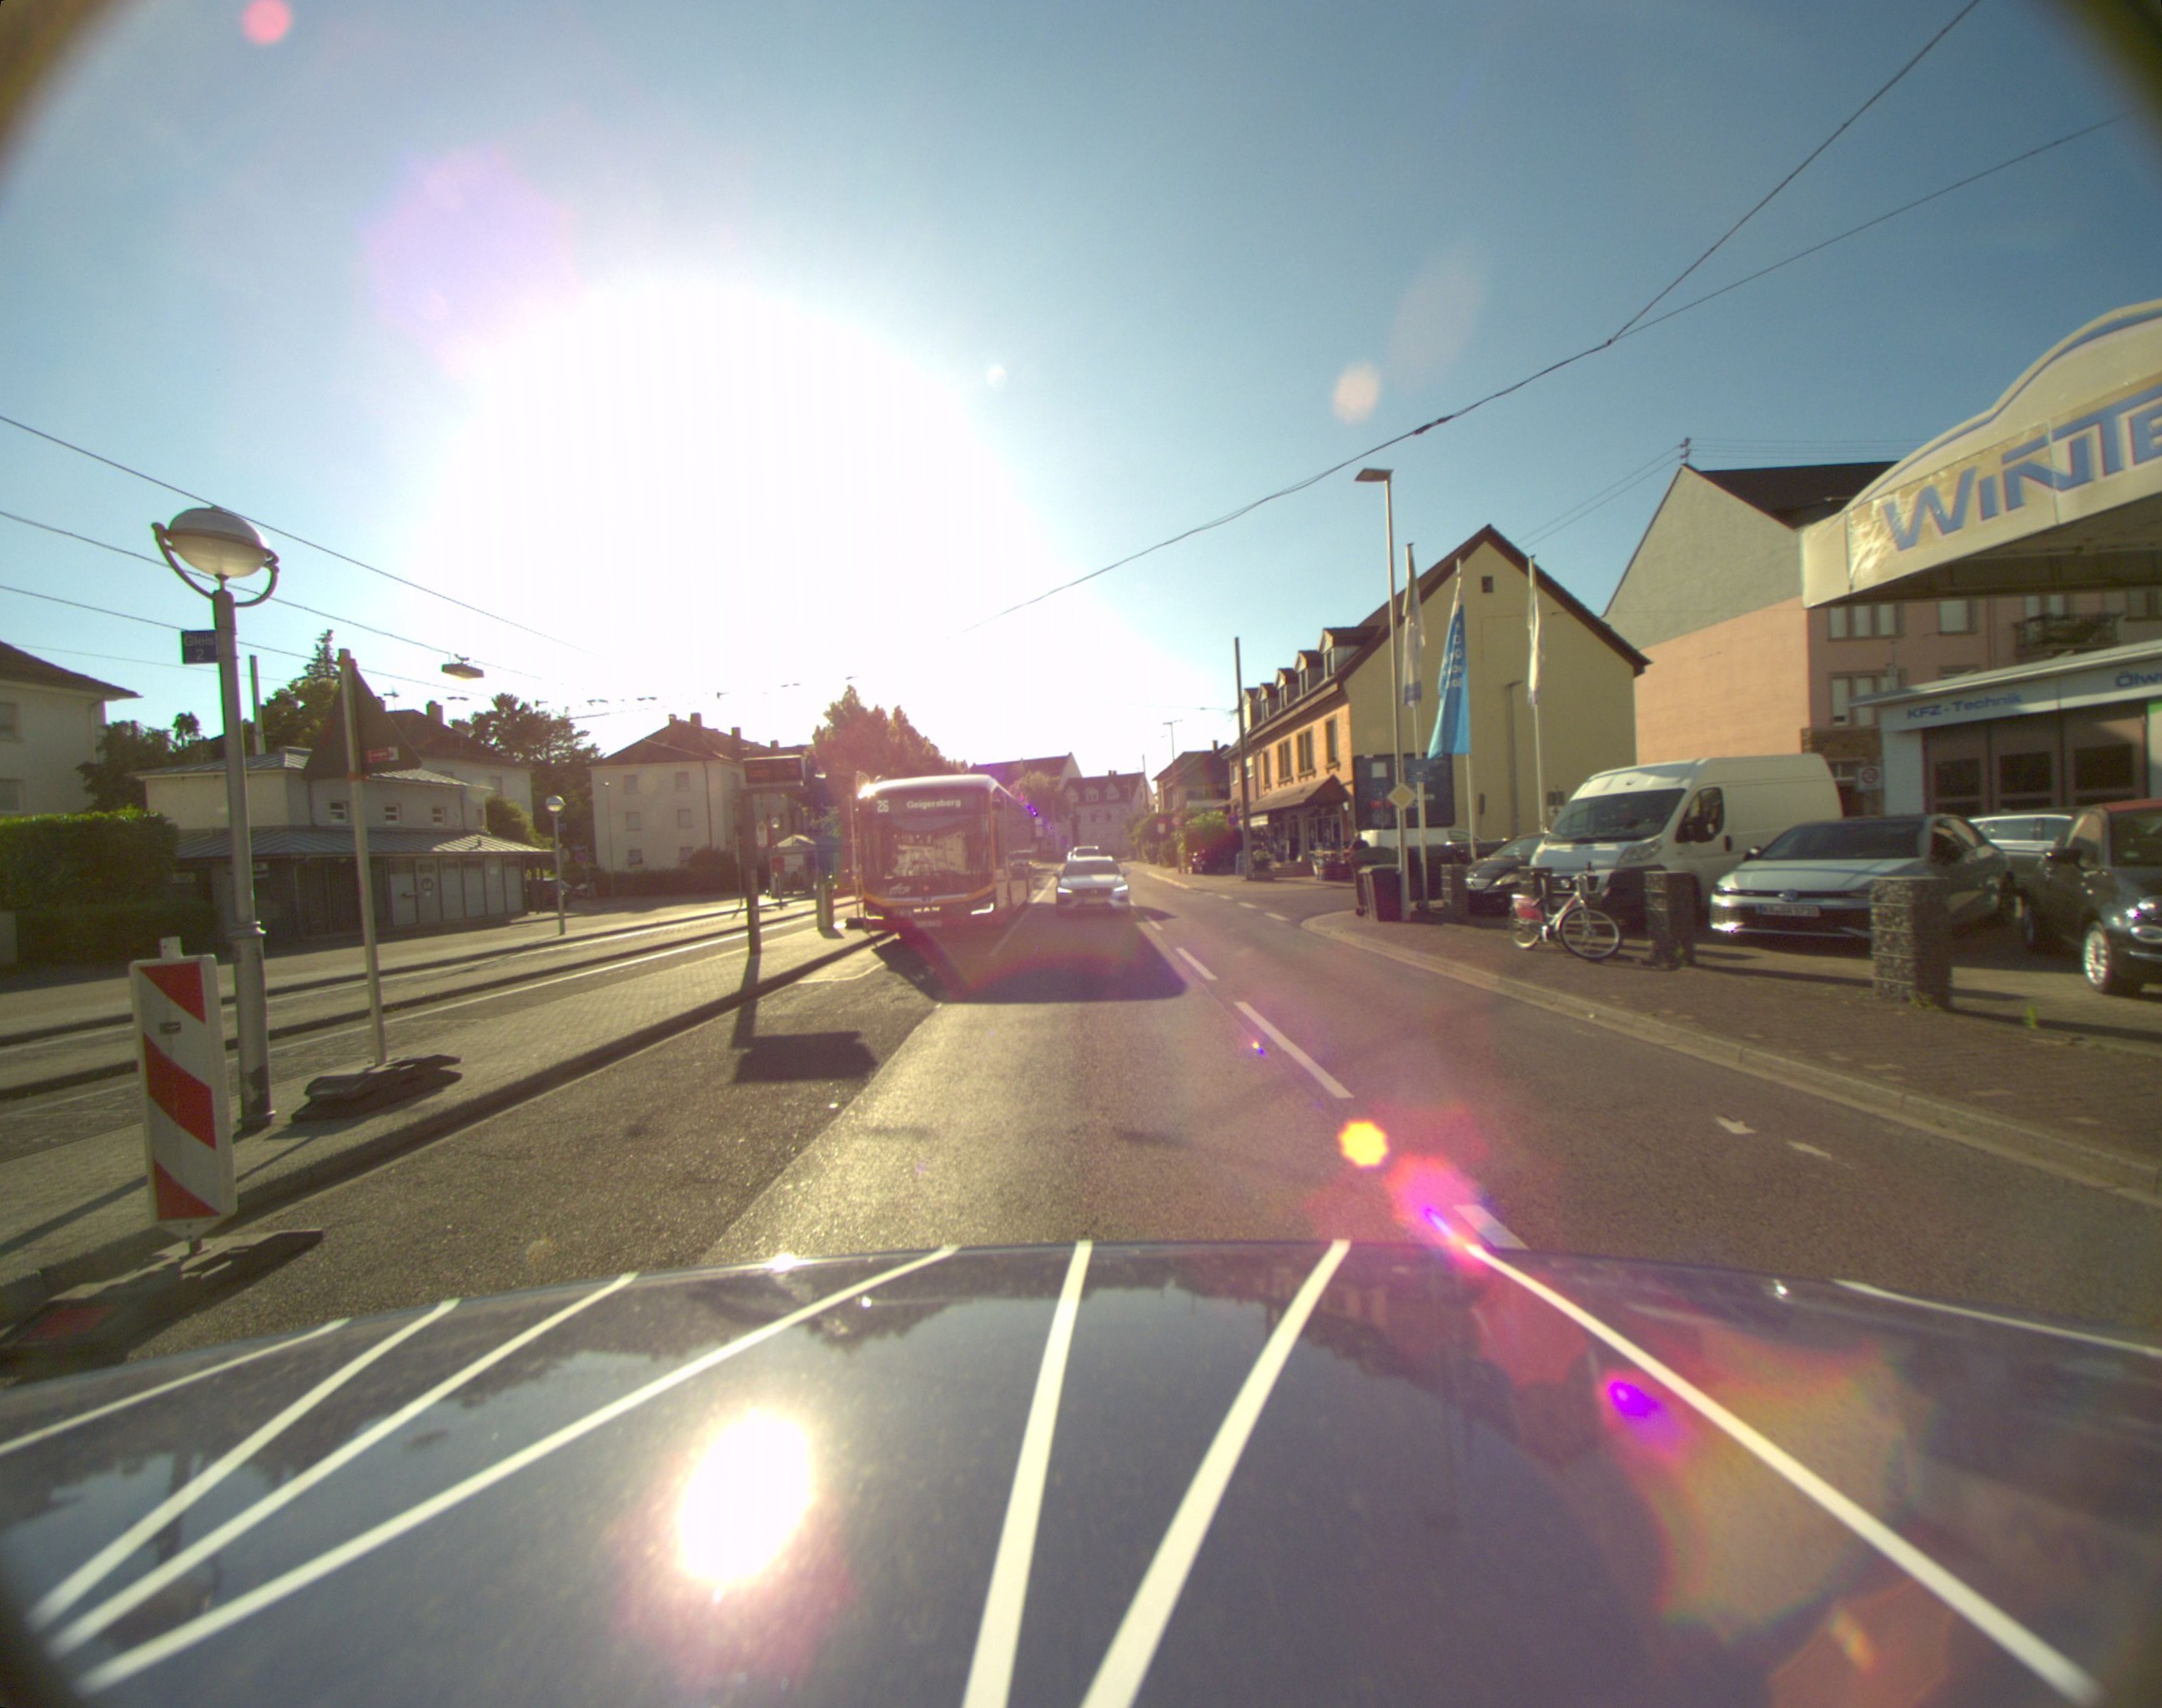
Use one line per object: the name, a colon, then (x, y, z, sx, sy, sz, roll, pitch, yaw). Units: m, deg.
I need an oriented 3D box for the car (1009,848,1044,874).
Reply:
car: (-3.701, 0.460, 52.005, 1.998, 1.664, 4.000, -2, 0, 1)

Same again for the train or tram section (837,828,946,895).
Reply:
train or tram section: (-11.665, 0.183, 49.099, 2.965, 3.514, 15.964, -2, 2, 0)

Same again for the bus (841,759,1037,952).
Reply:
bus: (-2.925, -0.009, 19.853, 2.695, 3.396, 12.017, -3, 0, 0)

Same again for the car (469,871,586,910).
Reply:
car: (-27.809, 1.827, 38.254, 4.448, 1.759, 2.000, -2, 1, 4)

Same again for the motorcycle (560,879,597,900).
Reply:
motorcycle: (-30.979, 2.165, 46.833, 1.826, 1.155, 0.558, -3, 1, -2)

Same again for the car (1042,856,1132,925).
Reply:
car: (0.281, 0.841, 19.580, 1.998, 1.454, 4.450, -3, 0, 4)

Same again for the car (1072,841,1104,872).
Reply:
car: (0.418, 0.160, 52.224, 1.871, 1.922, 4.791, -4, 0, -2)

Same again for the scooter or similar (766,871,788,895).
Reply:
scooter or similar: (-16.109, 1.520, 40.298, 0.467, 1.201, 1.210, -2, 1, 11)

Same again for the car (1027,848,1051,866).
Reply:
car: (-3.986, 0.275, 73.280, 1.998, 1.664, 4.000, -2, 0, 1)
